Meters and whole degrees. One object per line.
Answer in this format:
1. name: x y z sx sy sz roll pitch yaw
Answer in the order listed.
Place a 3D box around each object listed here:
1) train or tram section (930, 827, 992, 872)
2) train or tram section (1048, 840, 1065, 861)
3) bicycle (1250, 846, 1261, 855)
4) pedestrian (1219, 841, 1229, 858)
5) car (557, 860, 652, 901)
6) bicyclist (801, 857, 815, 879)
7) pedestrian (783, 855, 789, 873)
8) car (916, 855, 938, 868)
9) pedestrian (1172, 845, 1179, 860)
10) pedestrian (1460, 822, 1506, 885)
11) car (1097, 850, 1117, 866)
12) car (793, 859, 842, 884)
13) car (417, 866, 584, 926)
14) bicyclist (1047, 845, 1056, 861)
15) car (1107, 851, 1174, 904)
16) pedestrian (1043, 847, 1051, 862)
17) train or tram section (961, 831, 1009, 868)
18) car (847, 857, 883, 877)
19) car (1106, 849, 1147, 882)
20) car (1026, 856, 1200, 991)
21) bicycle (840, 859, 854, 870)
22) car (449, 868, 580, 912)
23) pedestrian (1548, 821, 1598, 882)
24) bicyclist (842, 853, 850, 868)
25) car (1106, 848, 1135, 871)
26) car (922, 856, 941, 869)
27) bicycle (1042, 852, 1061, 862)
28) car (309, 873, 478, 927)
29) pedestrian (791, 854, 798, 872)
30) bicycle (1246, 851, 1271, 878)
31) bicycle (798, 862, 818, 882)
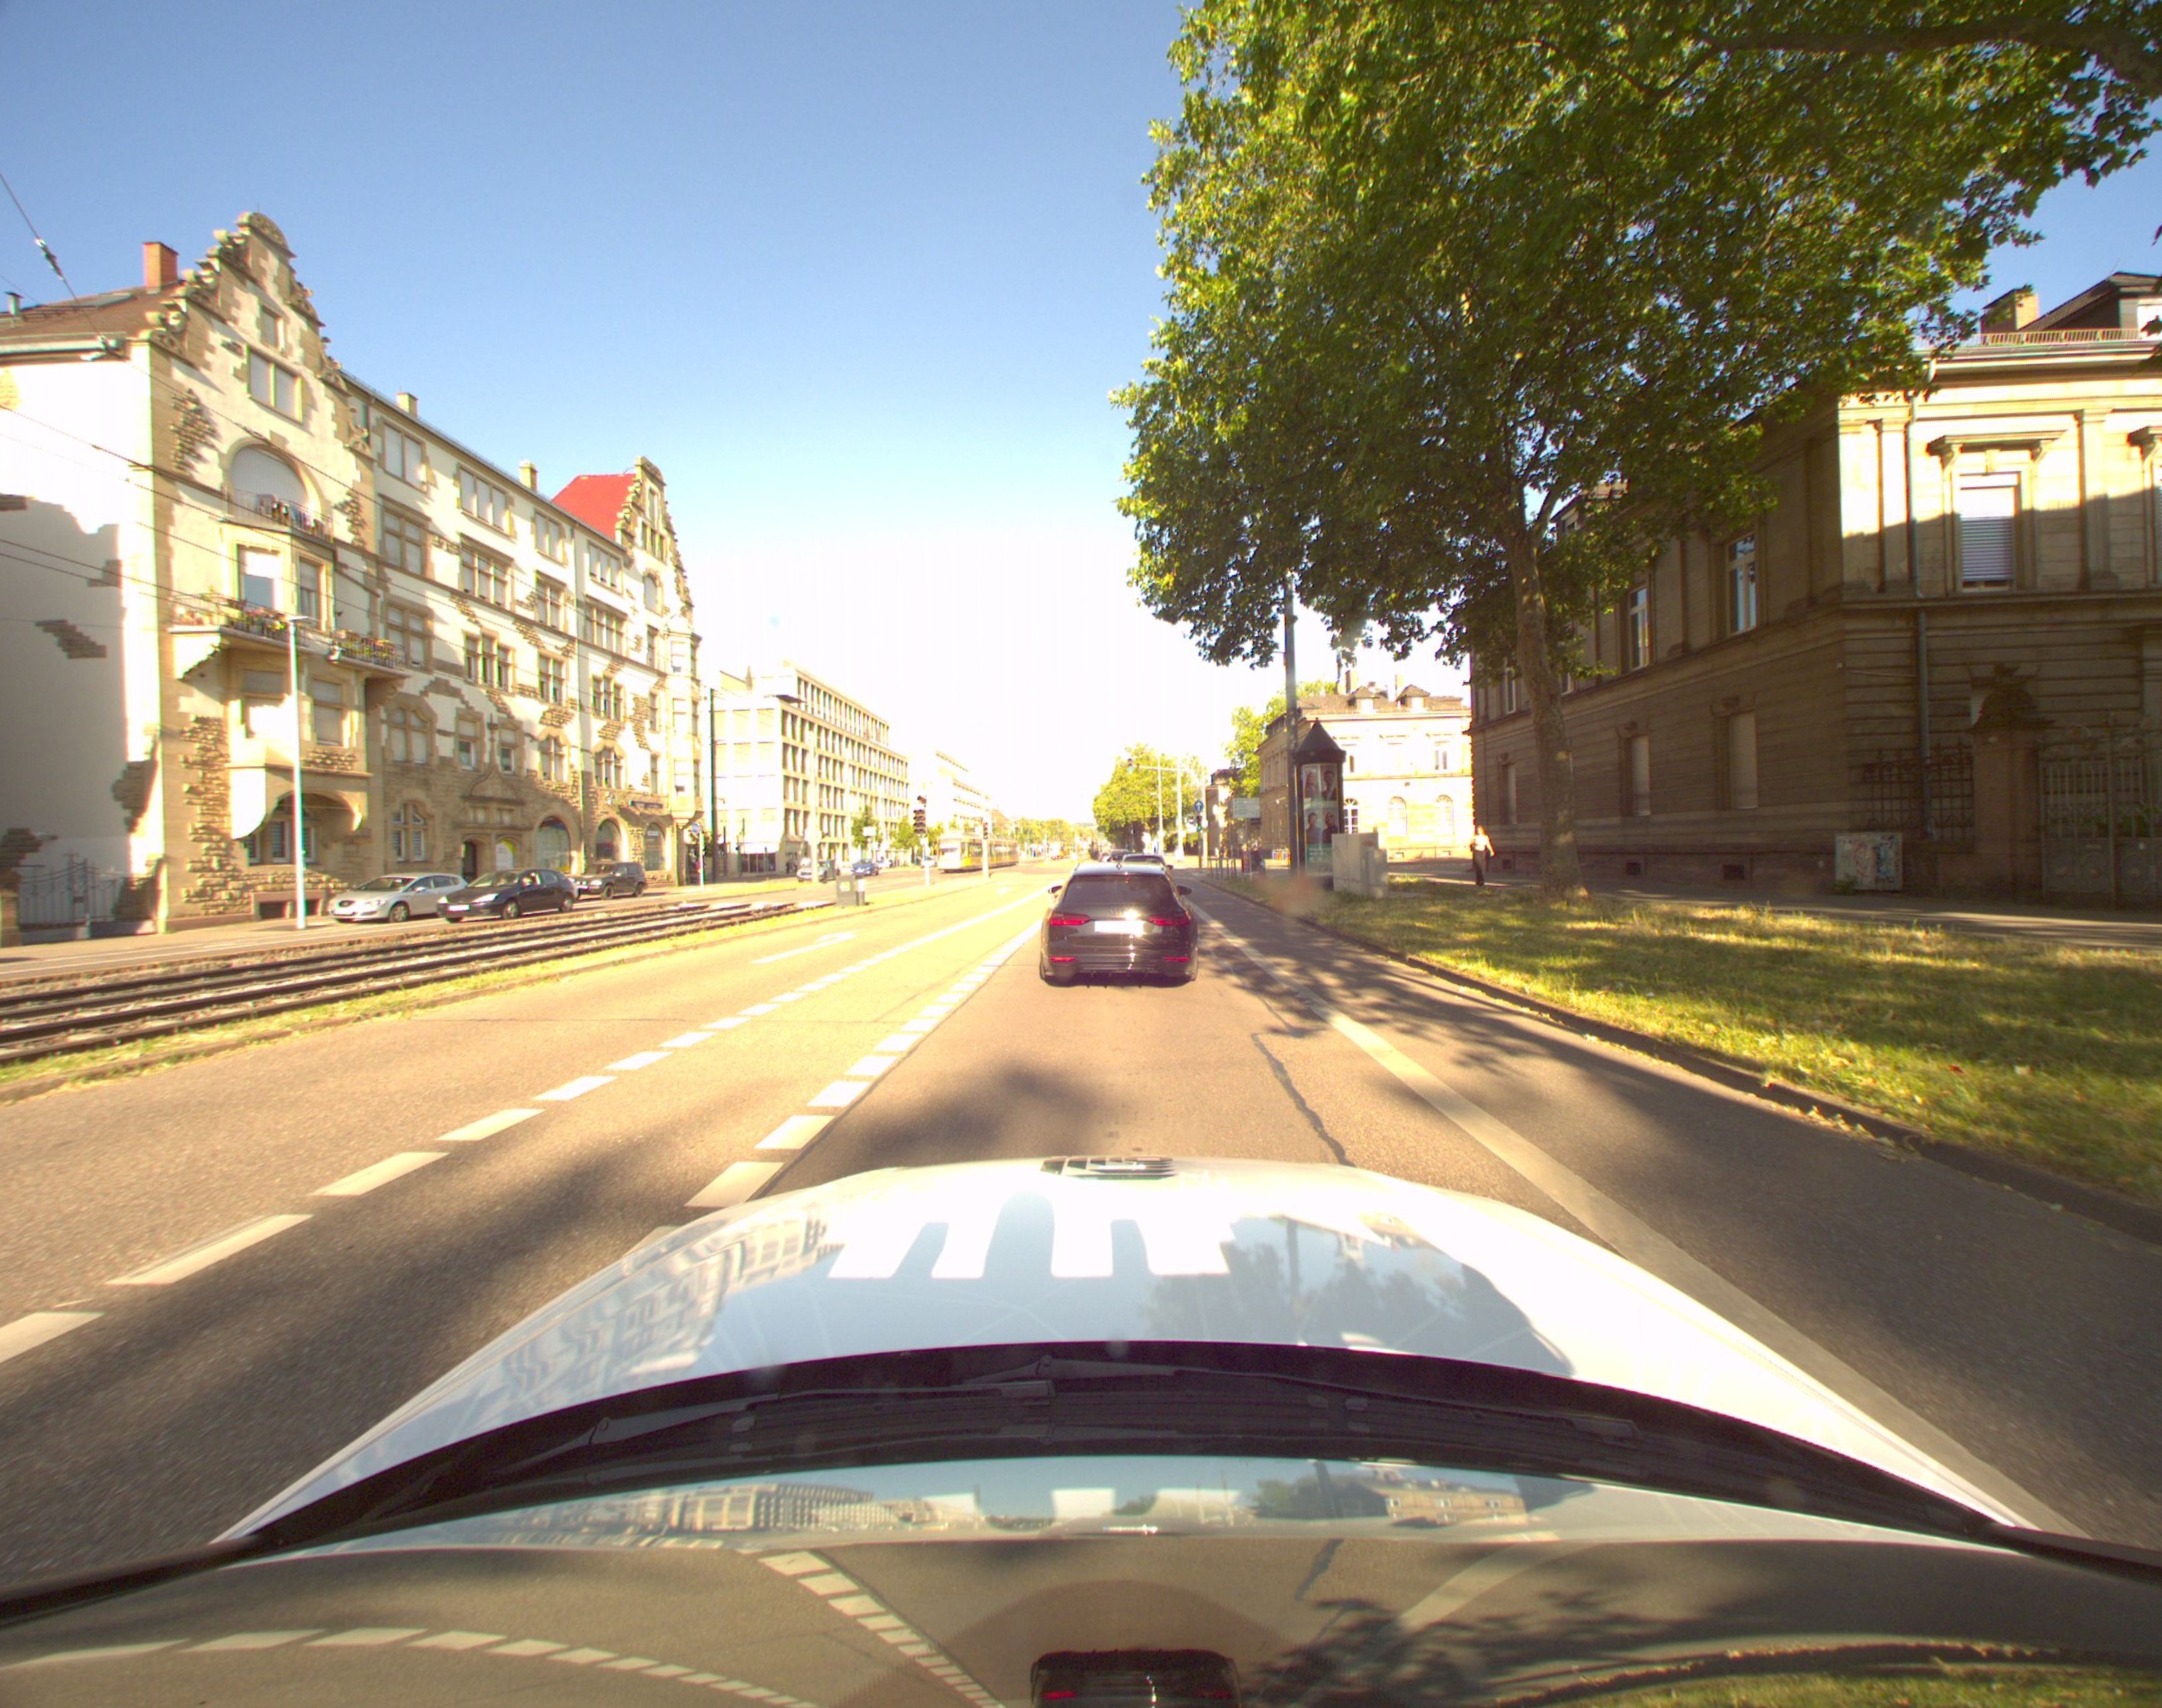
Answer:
1. train or tram section: -10.268 -0.408 71.401 2.802 3.489 13.211 -2 0 2
2. train or tram section: -4.281 -0.598 144.831 2.600 3.450 11.132 -2 0 1
3. bicycle: 21.444 -0.401 100.063 0.525 1.047 2.354 -2 0 -6
4. pedestrian: 16.051 -0.512 91.602 0.974 1.865 0.828 -2 0 4
5. car: -21.270 1.139 36.554 1.711 1.675 4.217 0 0 1
6. bicyclist: -19.927 1.011 59.491 0.682 1.563 0.786 -2 0 3
7. pedestrian: -31.816 1.087 87.867 0.475 1.843 0.438 -2 0 -36
8. car: -18.911 0.896 100.190 1.814 1.457 4.156 -2 0 0
9. pedestrian: 10.064 -0.159 86.842 0.679 1.660 0.758 -2 0 0
10. pedestrian: 11.310 -0.027 22.931 0.766 1.709 1.043 -2 0 3
11. car: 2.630 0.358 81.104 1.895 1.486 4.147 0 0 3
12. car: -17.595 1.128 54.638 1.814 1.457 4.538 -2 0 -1
13. car: -16.811 1.146 23.891 1.814 1.457 4.166 -2 0 0
14. bicyclist: -3.362 -0.108 92.254 0.758 1.818 0.760 -2 0 -17
15. car: 1.800 0.668 25.273 1.895 1.486 4.147 0 0 3
16. pedestrian: -3.919 0.089 93.712 0.742 1.741 0.659 -2 0 -18
17. train or tram section: -9.750 -0.482 84.617 2.802 3.489 13.211 -2 0 2
18. car: -17.536 1.050 66.216 1.815 1.457 4.155 -2 0 -1
19. car: 2.177 0.529 39.463 1.895 1.486 4.147 0 0 3
20. car: 0.446 0.764 10.963 1.895 1.421 4.147 0 0 3
21. bicycle: -26.811 1.197 93.272 0.572 1.215 2.394 -2 0 7
22. car: -21.428 1.315 31.077 1.711 1.423 4.656 0 0 1
23. pedestrian: 13.545 -0.064 22.432 0.766 1.606 0.987 -2 0 3
24. bicyclist: -26.860 0.768 93.023 0.572 1.686 0.644 -2 0 7
25. car: 2.667 0.363 55.220 1.895 1.486 4.147 0 0 3
26. car: -21.903 1.221 119.316 1.835 1.812 4.114 -2 0 1
27. bicycle: -3.389 0.350 92.237 2.011 1.108 0.760 -2 0 -18
28. car: -21.369 1.380 25.582 1.704 1.431 4.222 0 0 0
29. pedestrian: -31.045 0.979 88.164 0.535 1.843 0.438 -2 0 -36
30. bicycle: 7.127 0.405 32.727 0.538 1.061 1.770 -2 0 -1
31. bicycle: -19.914 1.305 59.489 0.682 1.381 1.949 -2 0 3
